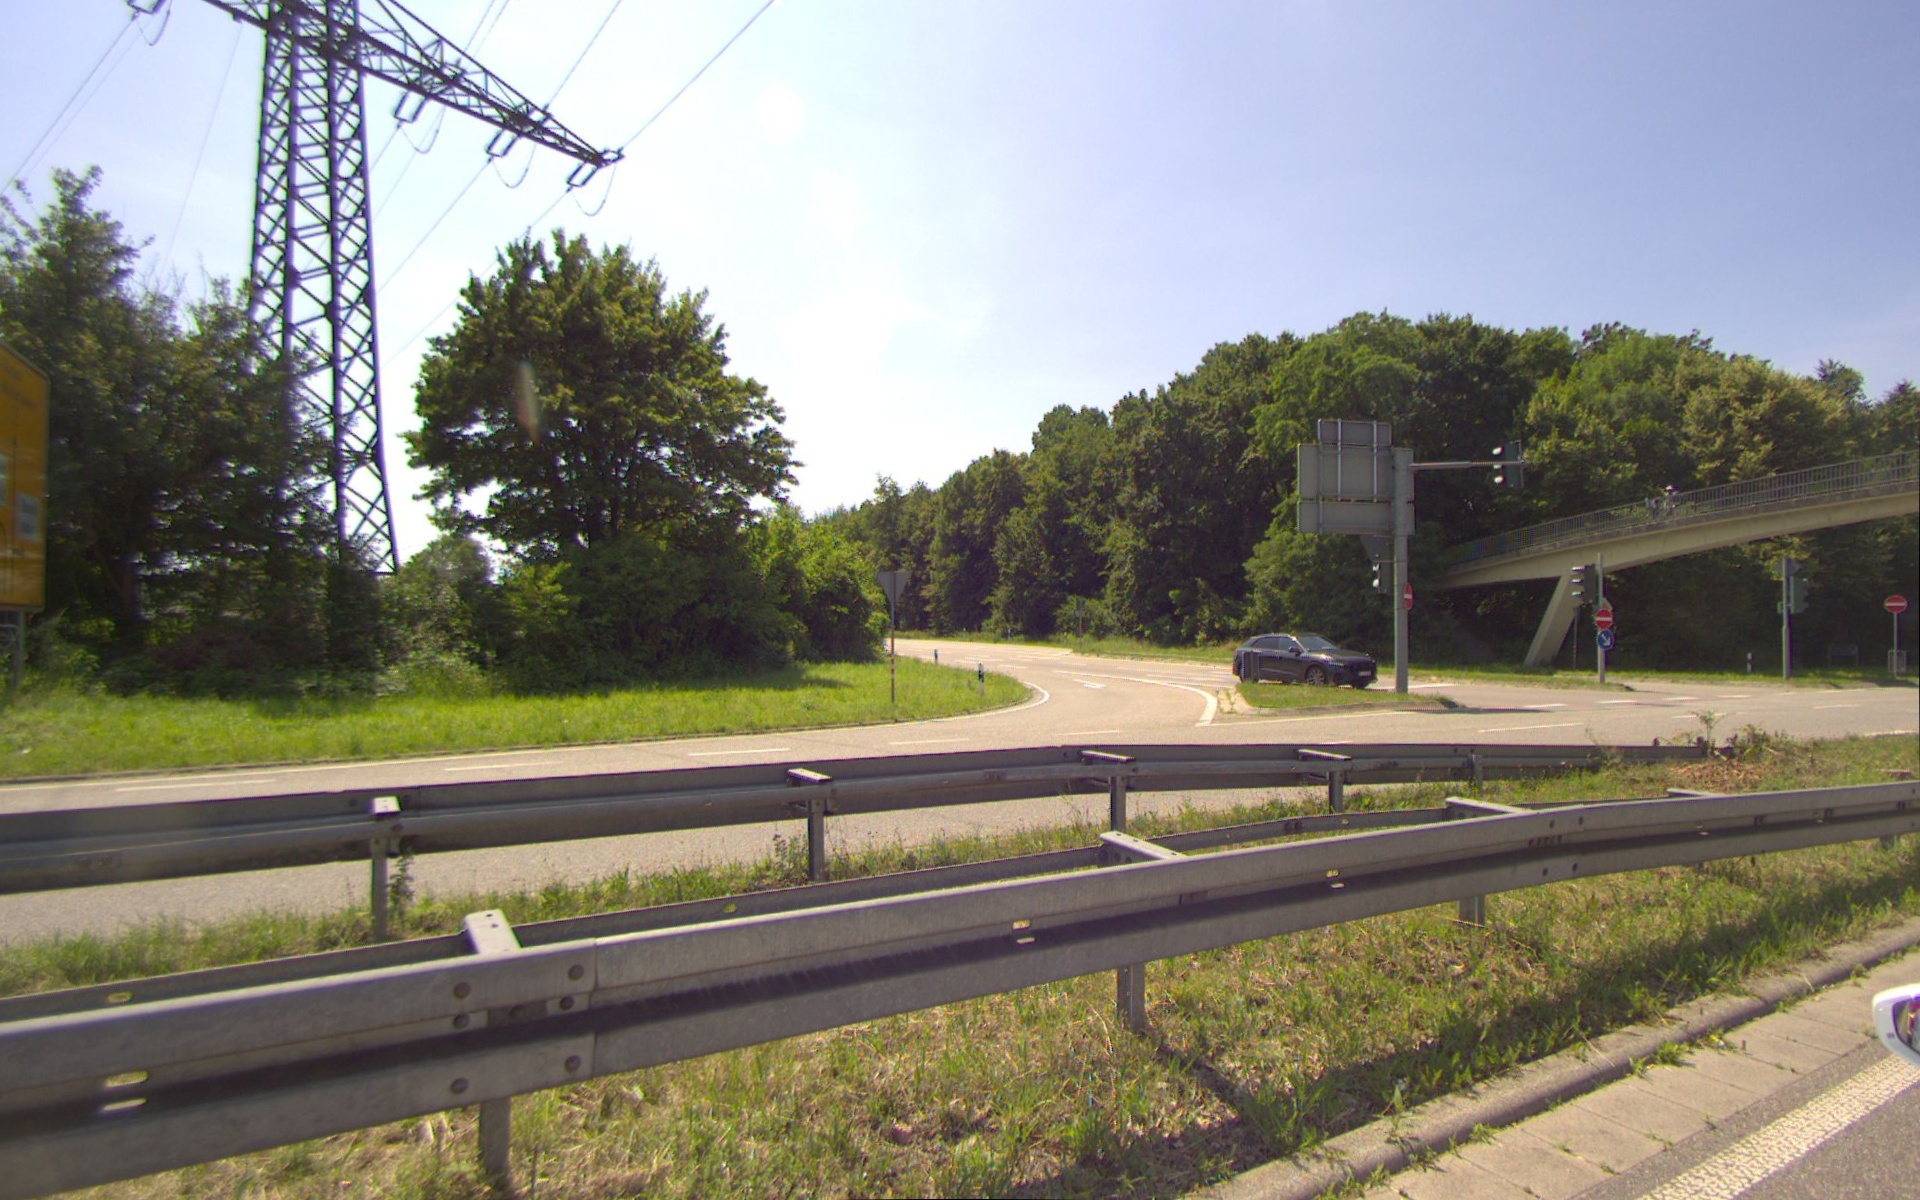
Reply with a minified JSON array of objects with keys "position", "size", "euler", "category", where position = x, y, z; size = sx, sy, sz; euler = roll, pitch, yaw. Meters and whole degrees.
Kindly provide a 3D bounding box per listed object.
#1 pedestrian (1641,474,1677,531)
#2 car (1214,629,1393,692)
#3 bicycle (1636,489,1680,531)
[{"position":[28.584,-3.977,41.062],"size":[0.916,2.167,0.783],"euler":[2,-3,-14],"category":"pedestrian"},{"position":[10.575,1.839,31.314],"size":[2.027,1.721,5.039],"euler":[-2,-1,-34],"category":"car"},{"position":[28.376,-3.644,40.871],"size":[0.462,1.493,1.528],"euler":[2,-3,-14],"category":"bicycle"}]
